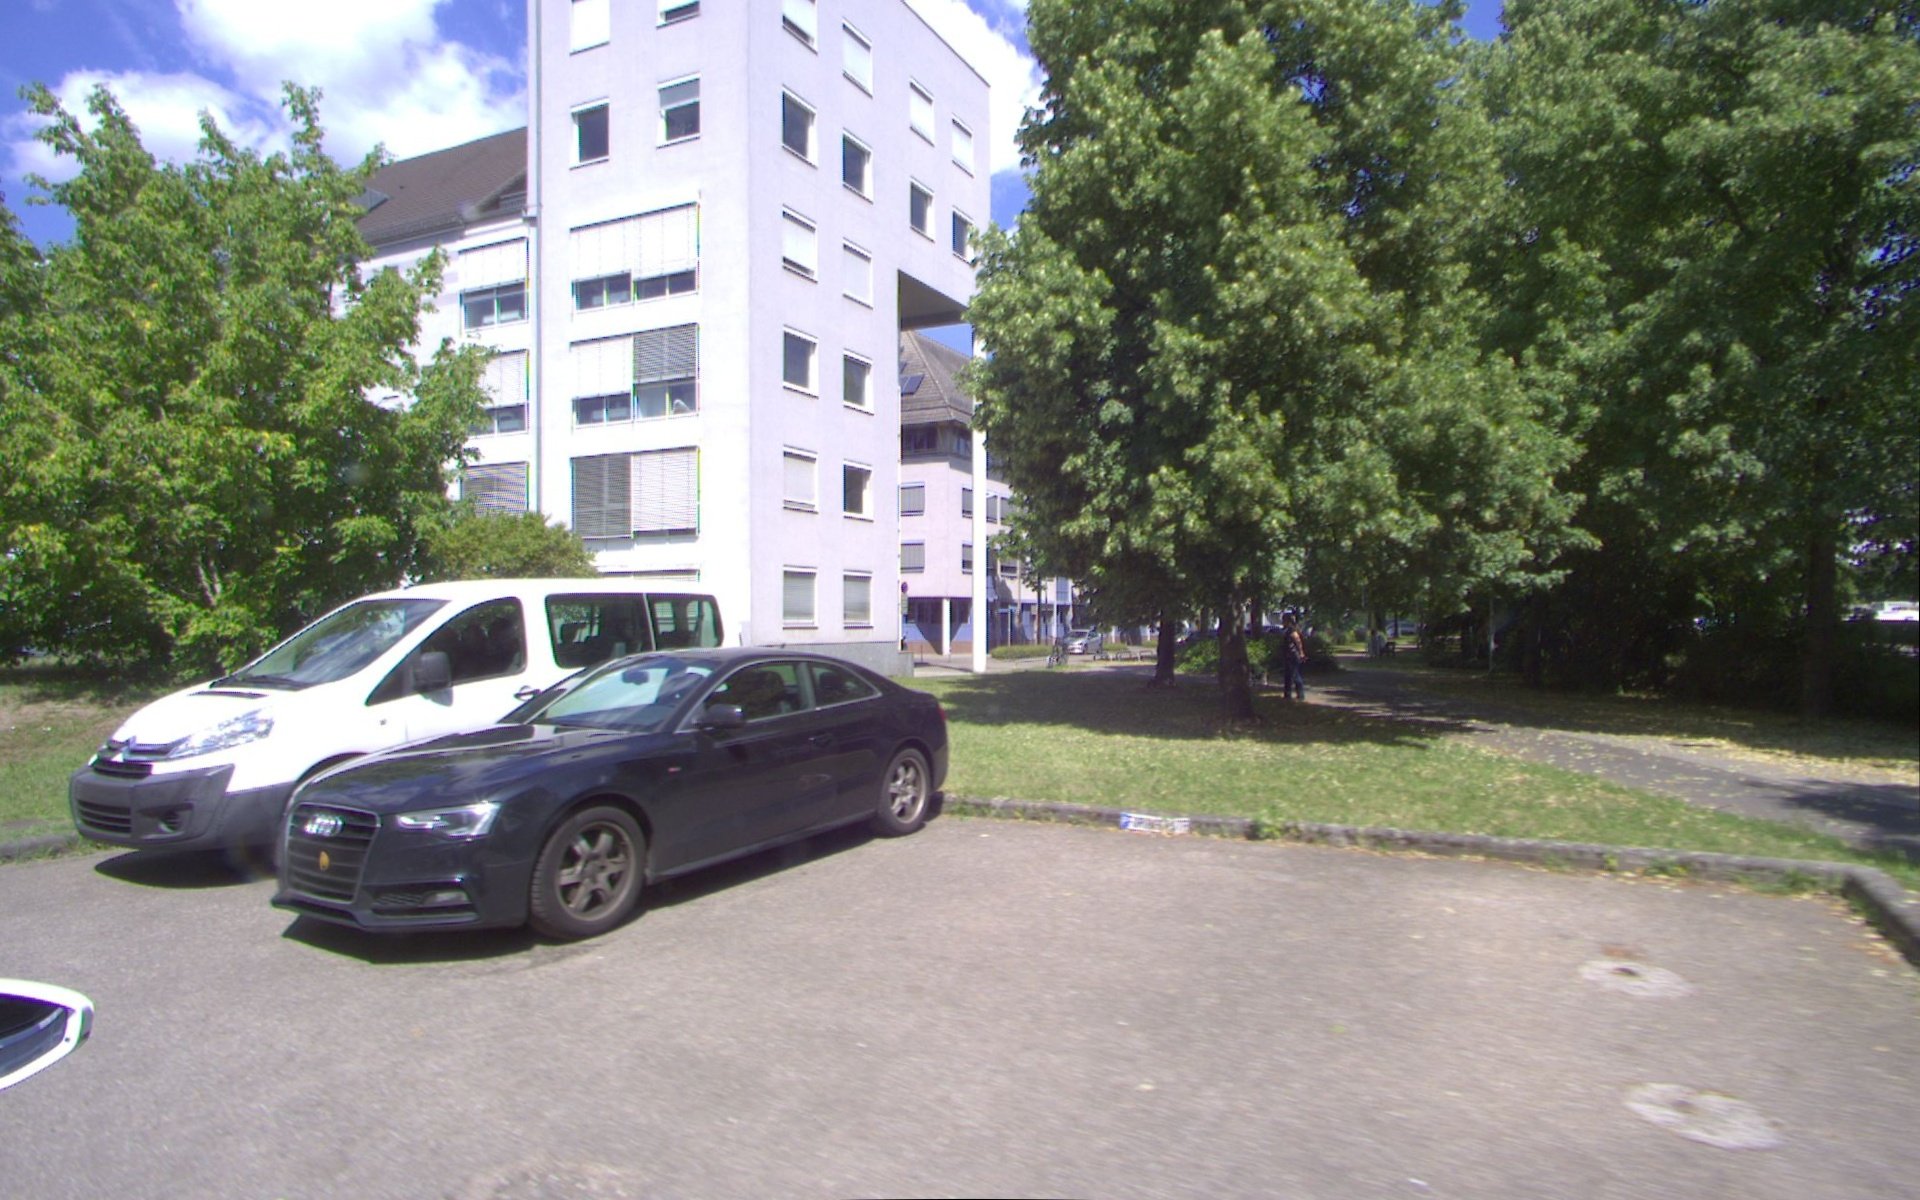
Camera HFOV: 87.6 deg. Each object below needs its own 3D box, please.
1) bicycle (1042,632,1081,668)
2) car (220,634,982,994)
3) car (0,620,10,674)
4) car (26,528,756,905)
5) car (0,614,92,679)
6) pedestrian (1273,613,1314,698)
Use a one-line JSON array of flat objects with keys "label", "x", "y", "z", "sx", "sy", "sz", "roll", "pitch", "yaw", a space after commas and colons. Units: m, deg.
[{"label": "bicycle", "x": 3.317, "y": 1.604, "z": 32.519, "sx": 0.592, "sy": 1.098, "sz": 1.932, "roll": 0, "pitch": -1, "yaw": 28}, {"label": "car", "x": -1.744, "y": 0.947, "z": 6.502, "sx": 1.806, "sy": 1.370, "sz": 4.606, "roll": 0, "pitch": -1, "yaw": 30}, {"label": "car", "x": -26.570, "y": 1.212, "z": 24.858, "sx": 1.776, "sy": 1.408, "sz": 3.984, "roll": 0, "pitch": -1, "yaw": 28}, {"label": "car", "x": -3.971, "y": 0.687, "z": 7.992, "sx": 1.970, "sy": 2.039, "sz": 4.754, "roll": -1, "pitch": -1, "yaw": 30}, {"label": "car", "x": -23.315, "y": 1.097, "z": 23.576, "sx": 1.776, "sy": 1.498, "sz": 3.984, "roll": 0, "pitch": 0, "yaw": 28}, {"label": "pedestrian", "x": 6.423, "y": 1.050, "z": 19.263, "sx": 0.728, "sy": 1.585, "sz": 0.748, "roll": 0, "pitch": 0, "yaw": 20}]
